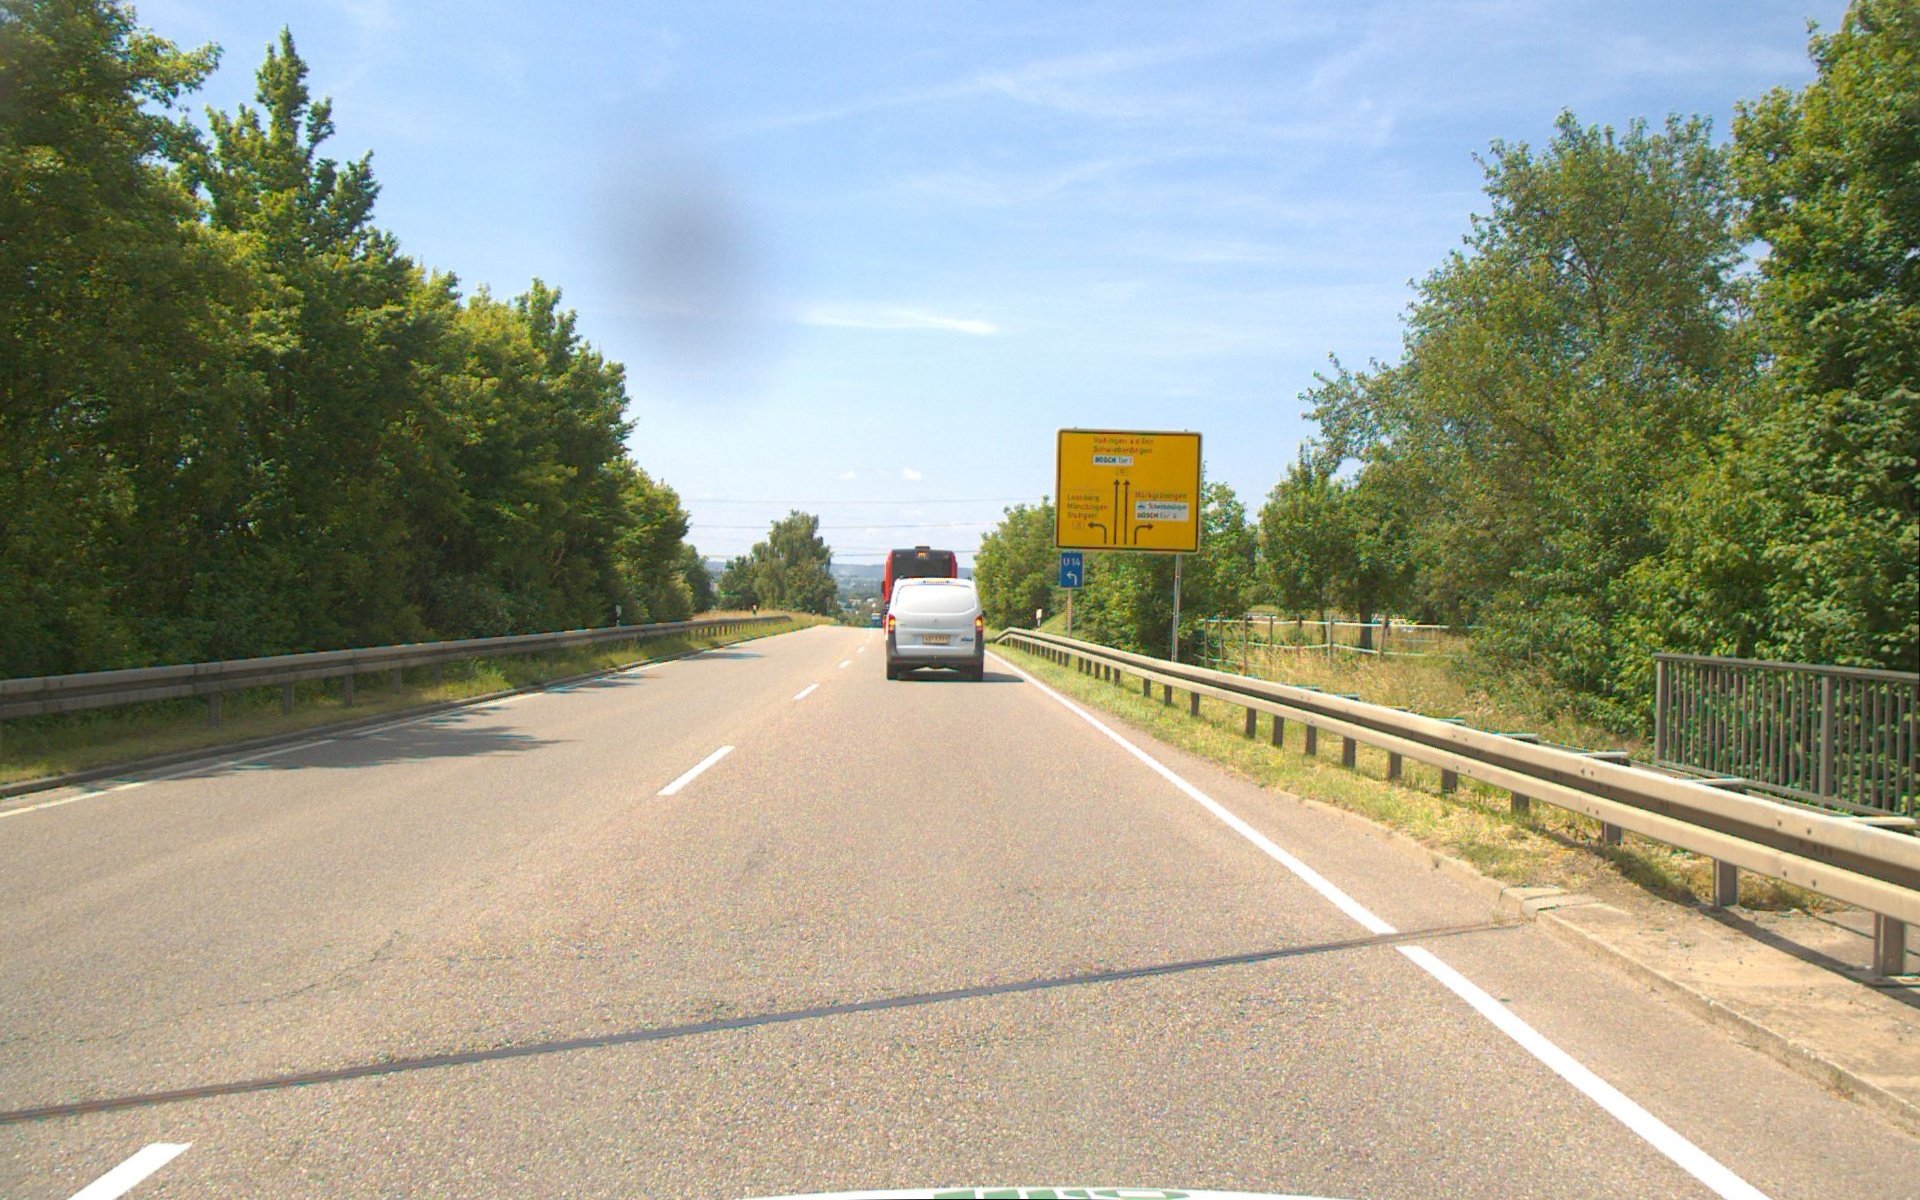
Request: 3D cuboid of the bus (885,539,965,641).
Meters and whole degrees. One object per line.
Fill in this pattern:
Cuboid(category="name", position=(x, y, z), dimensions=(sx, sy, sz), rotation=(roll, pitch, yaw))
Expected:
Cuboid(category="bus", position=(-1.471, -0.411, 62.418), dimensions=(2.692, 3.412, 13.215), rotation=(0, 1, -3))

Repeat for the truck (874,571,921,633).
Cuboid(category="truck", position=(-4.954, 0.058, 127.929), dimensions=(3.419, 4.500, 14.894), rotation=(0, 1, -3))

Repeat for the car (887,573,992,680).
Cuboid(category="car", position=(-0.414, 0.466, 32.317), dimensions=(1.884, 1.922, 3.999), rotation=(1, 1, -1))
